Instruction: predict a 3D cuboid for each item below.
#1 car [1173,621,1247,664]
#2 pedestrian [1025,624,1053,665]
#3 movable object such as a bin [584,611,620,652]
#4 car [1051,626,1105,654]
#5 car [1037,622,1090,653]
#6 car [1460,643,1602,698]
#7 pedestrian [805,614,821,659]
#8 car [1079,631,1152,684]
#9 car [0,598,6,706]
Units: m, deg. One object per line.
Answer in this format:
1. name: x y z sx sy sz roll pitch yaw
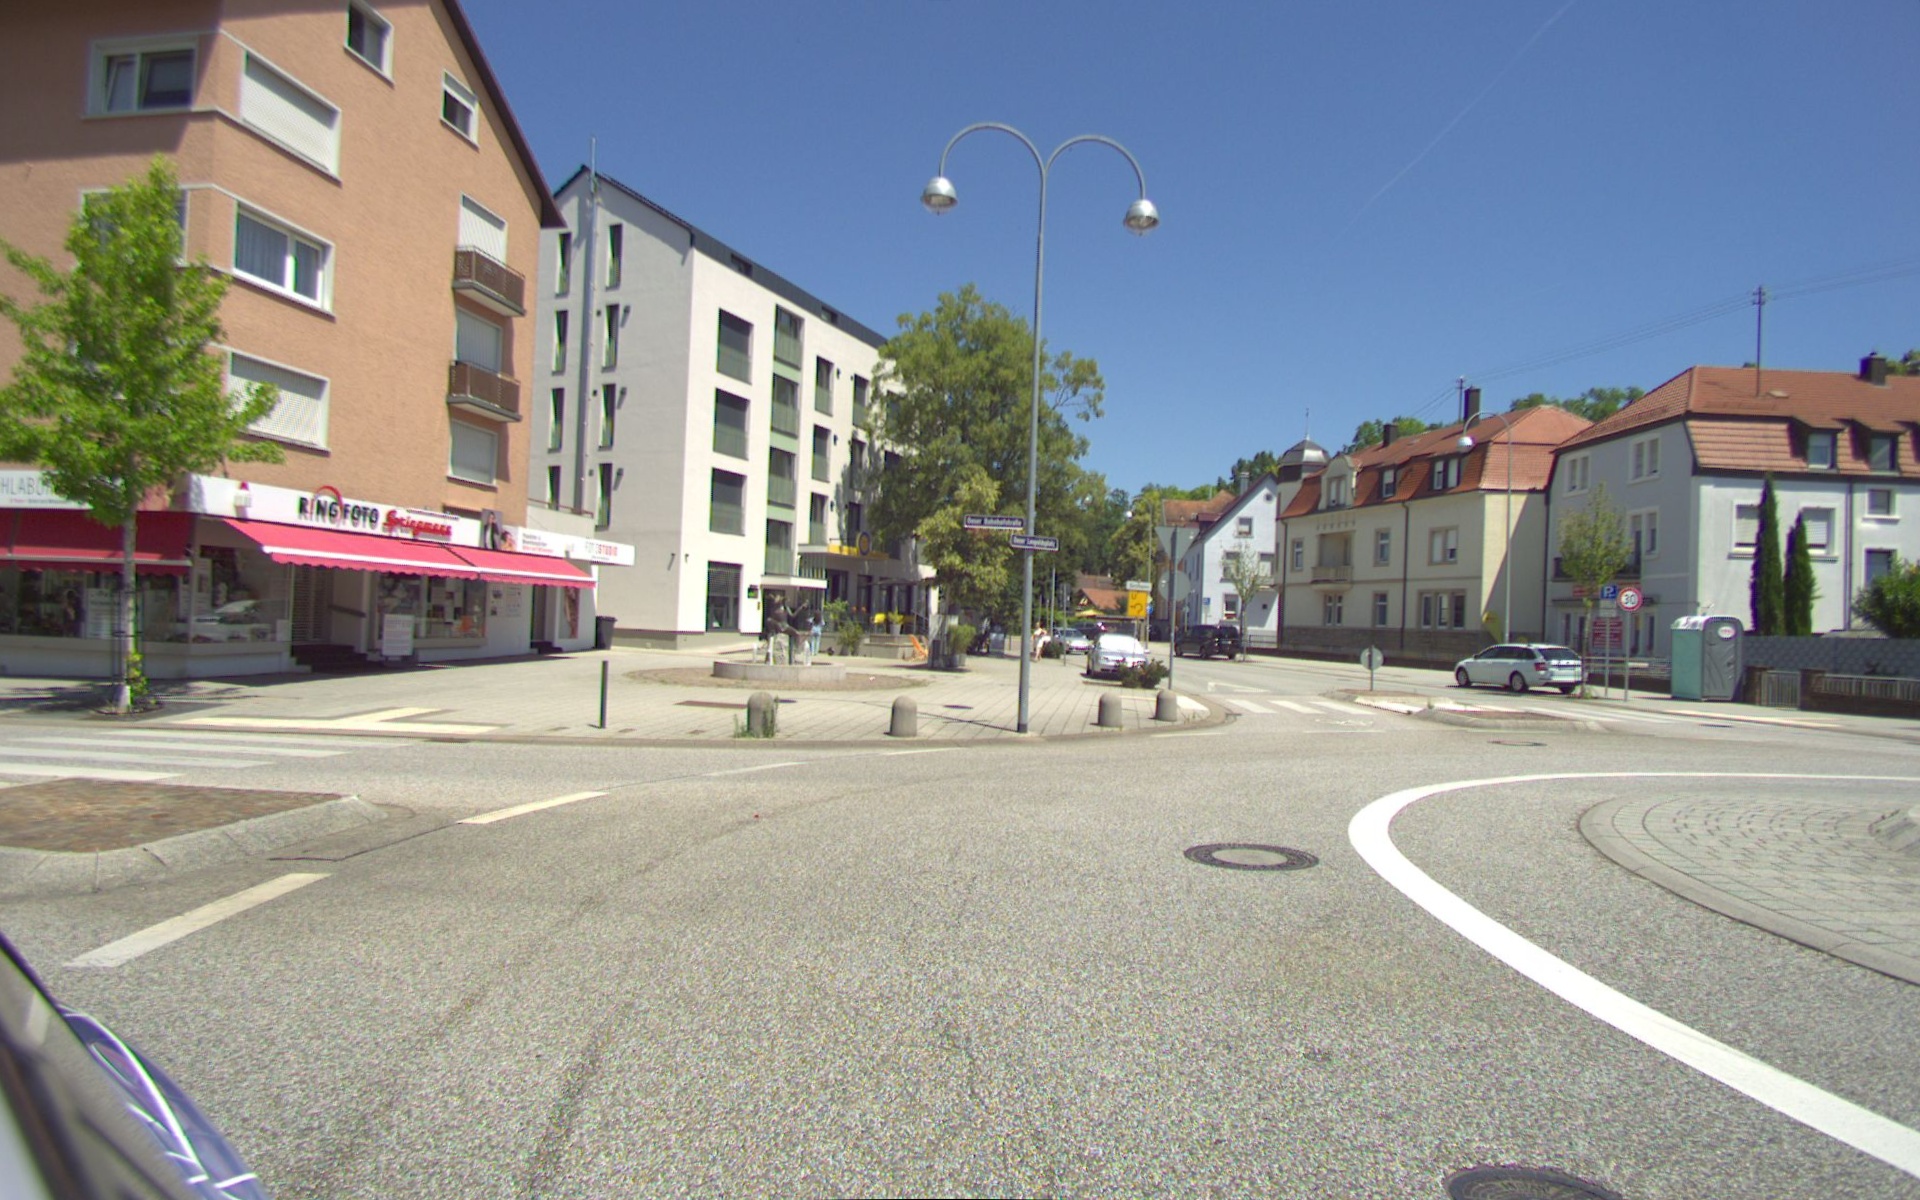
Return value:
1. car: 13.257 2.221 53.938 1.966 2.029 4.012 1 1 -17
2. pedestrian: 3.257 1.833 41.616 0.935 1.661 0.820 2 -2 -12
3. movable object such as a bin: -11.314 0.985 32.013 0.739 1.262 0.834 1 -2 11
4. car: 8.904 2.992 76.403 3.956 2.029 1.994 1 -2 10
5. car: 5.852 2.133 57.825 1.968 1.668 4.211 2 -1 -9
6. car: 17.280 2.096 30.868 1.584 1.402 4.085 -1 -1 -7
7. pedestrian: -5.419 1.330 37.261 0.445 1.631 0.450 1 -2 7
8. car: 4.879 1.778 32.157 1.772 1.536 3.997 1 -1 2
9. car: -15.427 0.699 13.559 4.011 1.497 1.669 1 1 6
